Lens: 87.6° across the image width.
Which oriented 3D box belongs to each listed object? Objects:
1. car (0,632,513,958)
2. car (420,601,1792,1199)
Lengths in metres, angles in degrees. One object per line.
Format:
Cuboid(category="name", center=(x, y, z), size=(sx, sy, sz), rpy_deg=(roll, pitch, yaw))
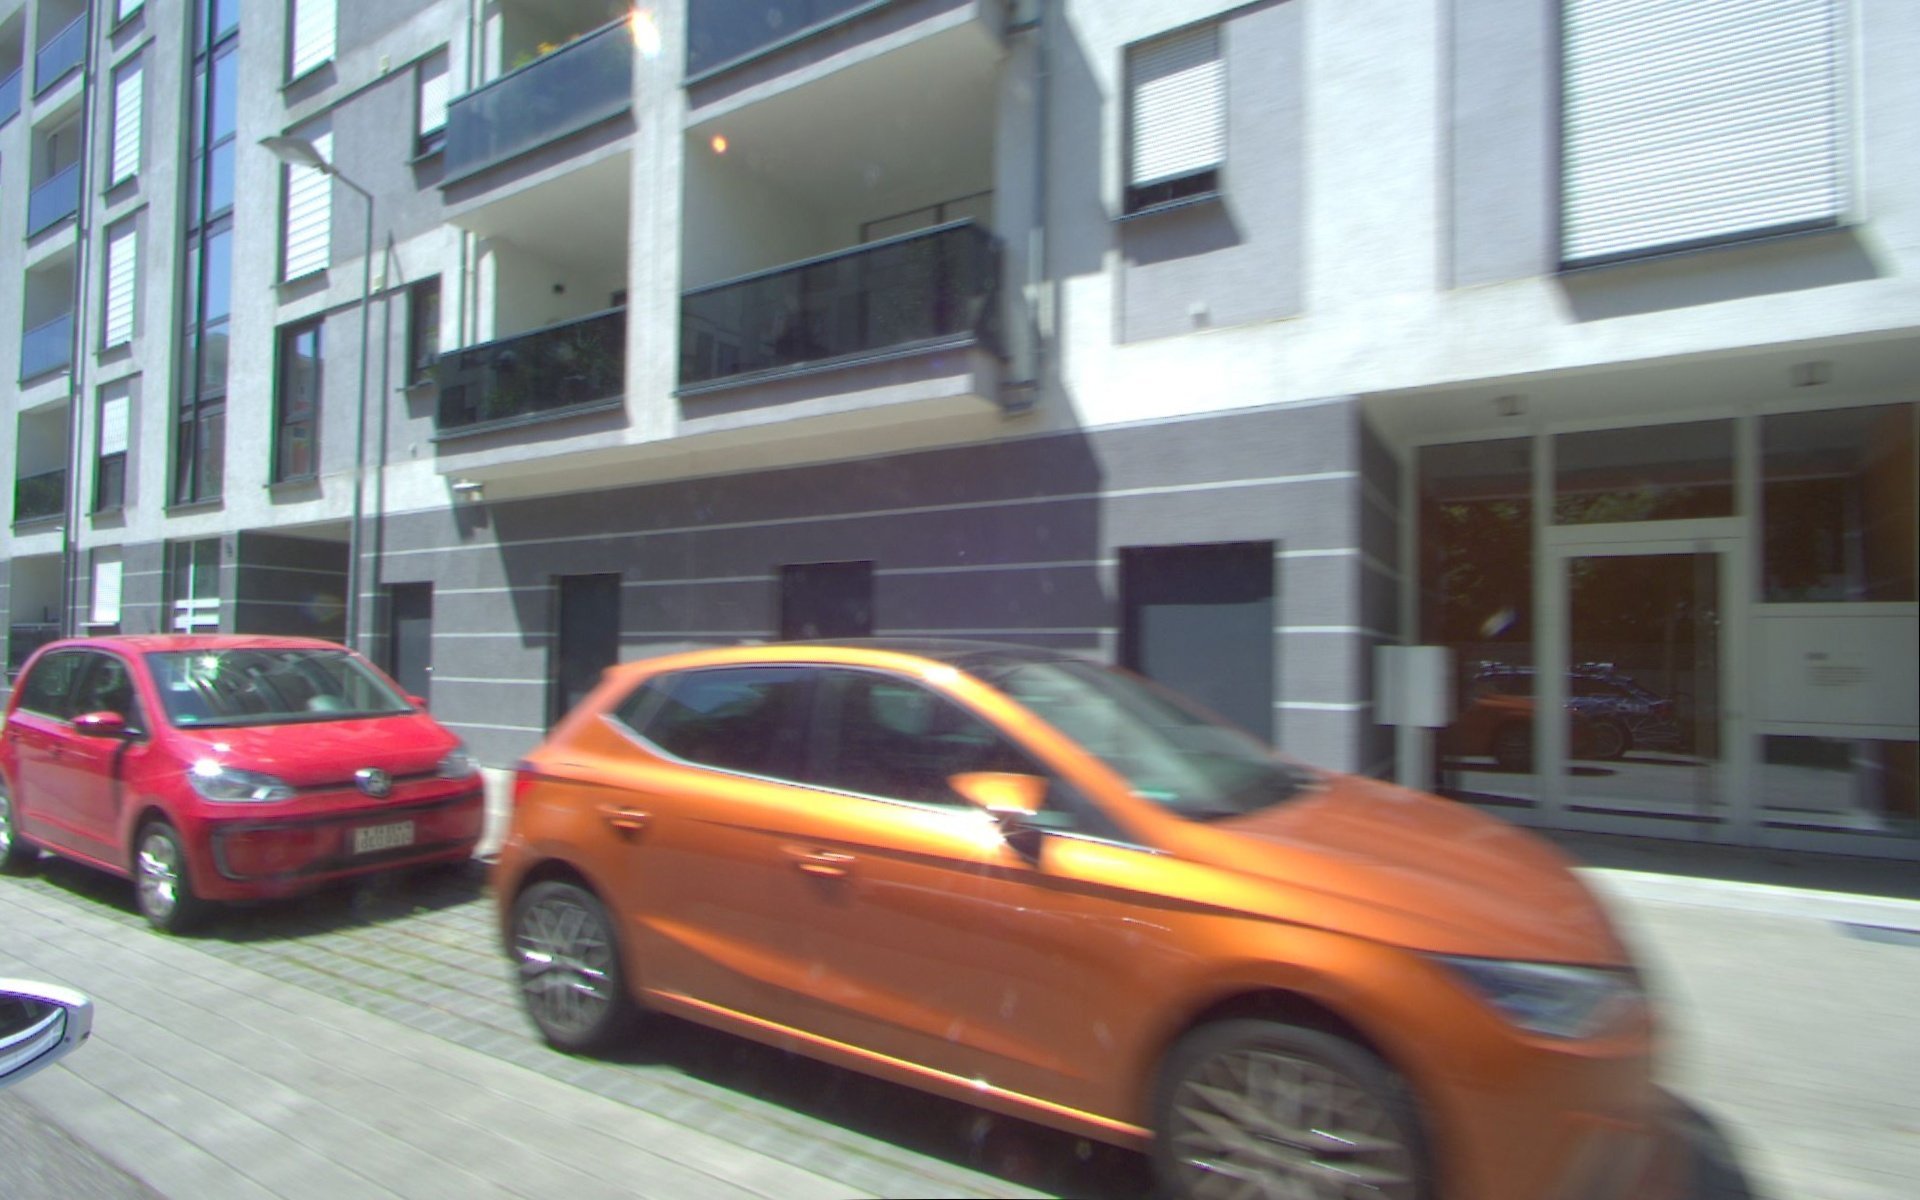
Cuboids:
Cuboid(category="car", center=(-4.633, 0.957, 6.295), size=(3.623, 1.505, 1.593), rpy_deg=(-1, -2, 32))
Cuboid(category="car", center=(0.100, 0.825, 3.579), size=(4.197, 1.505, 1.735), rpy_deg=(-1, -2, 32))
